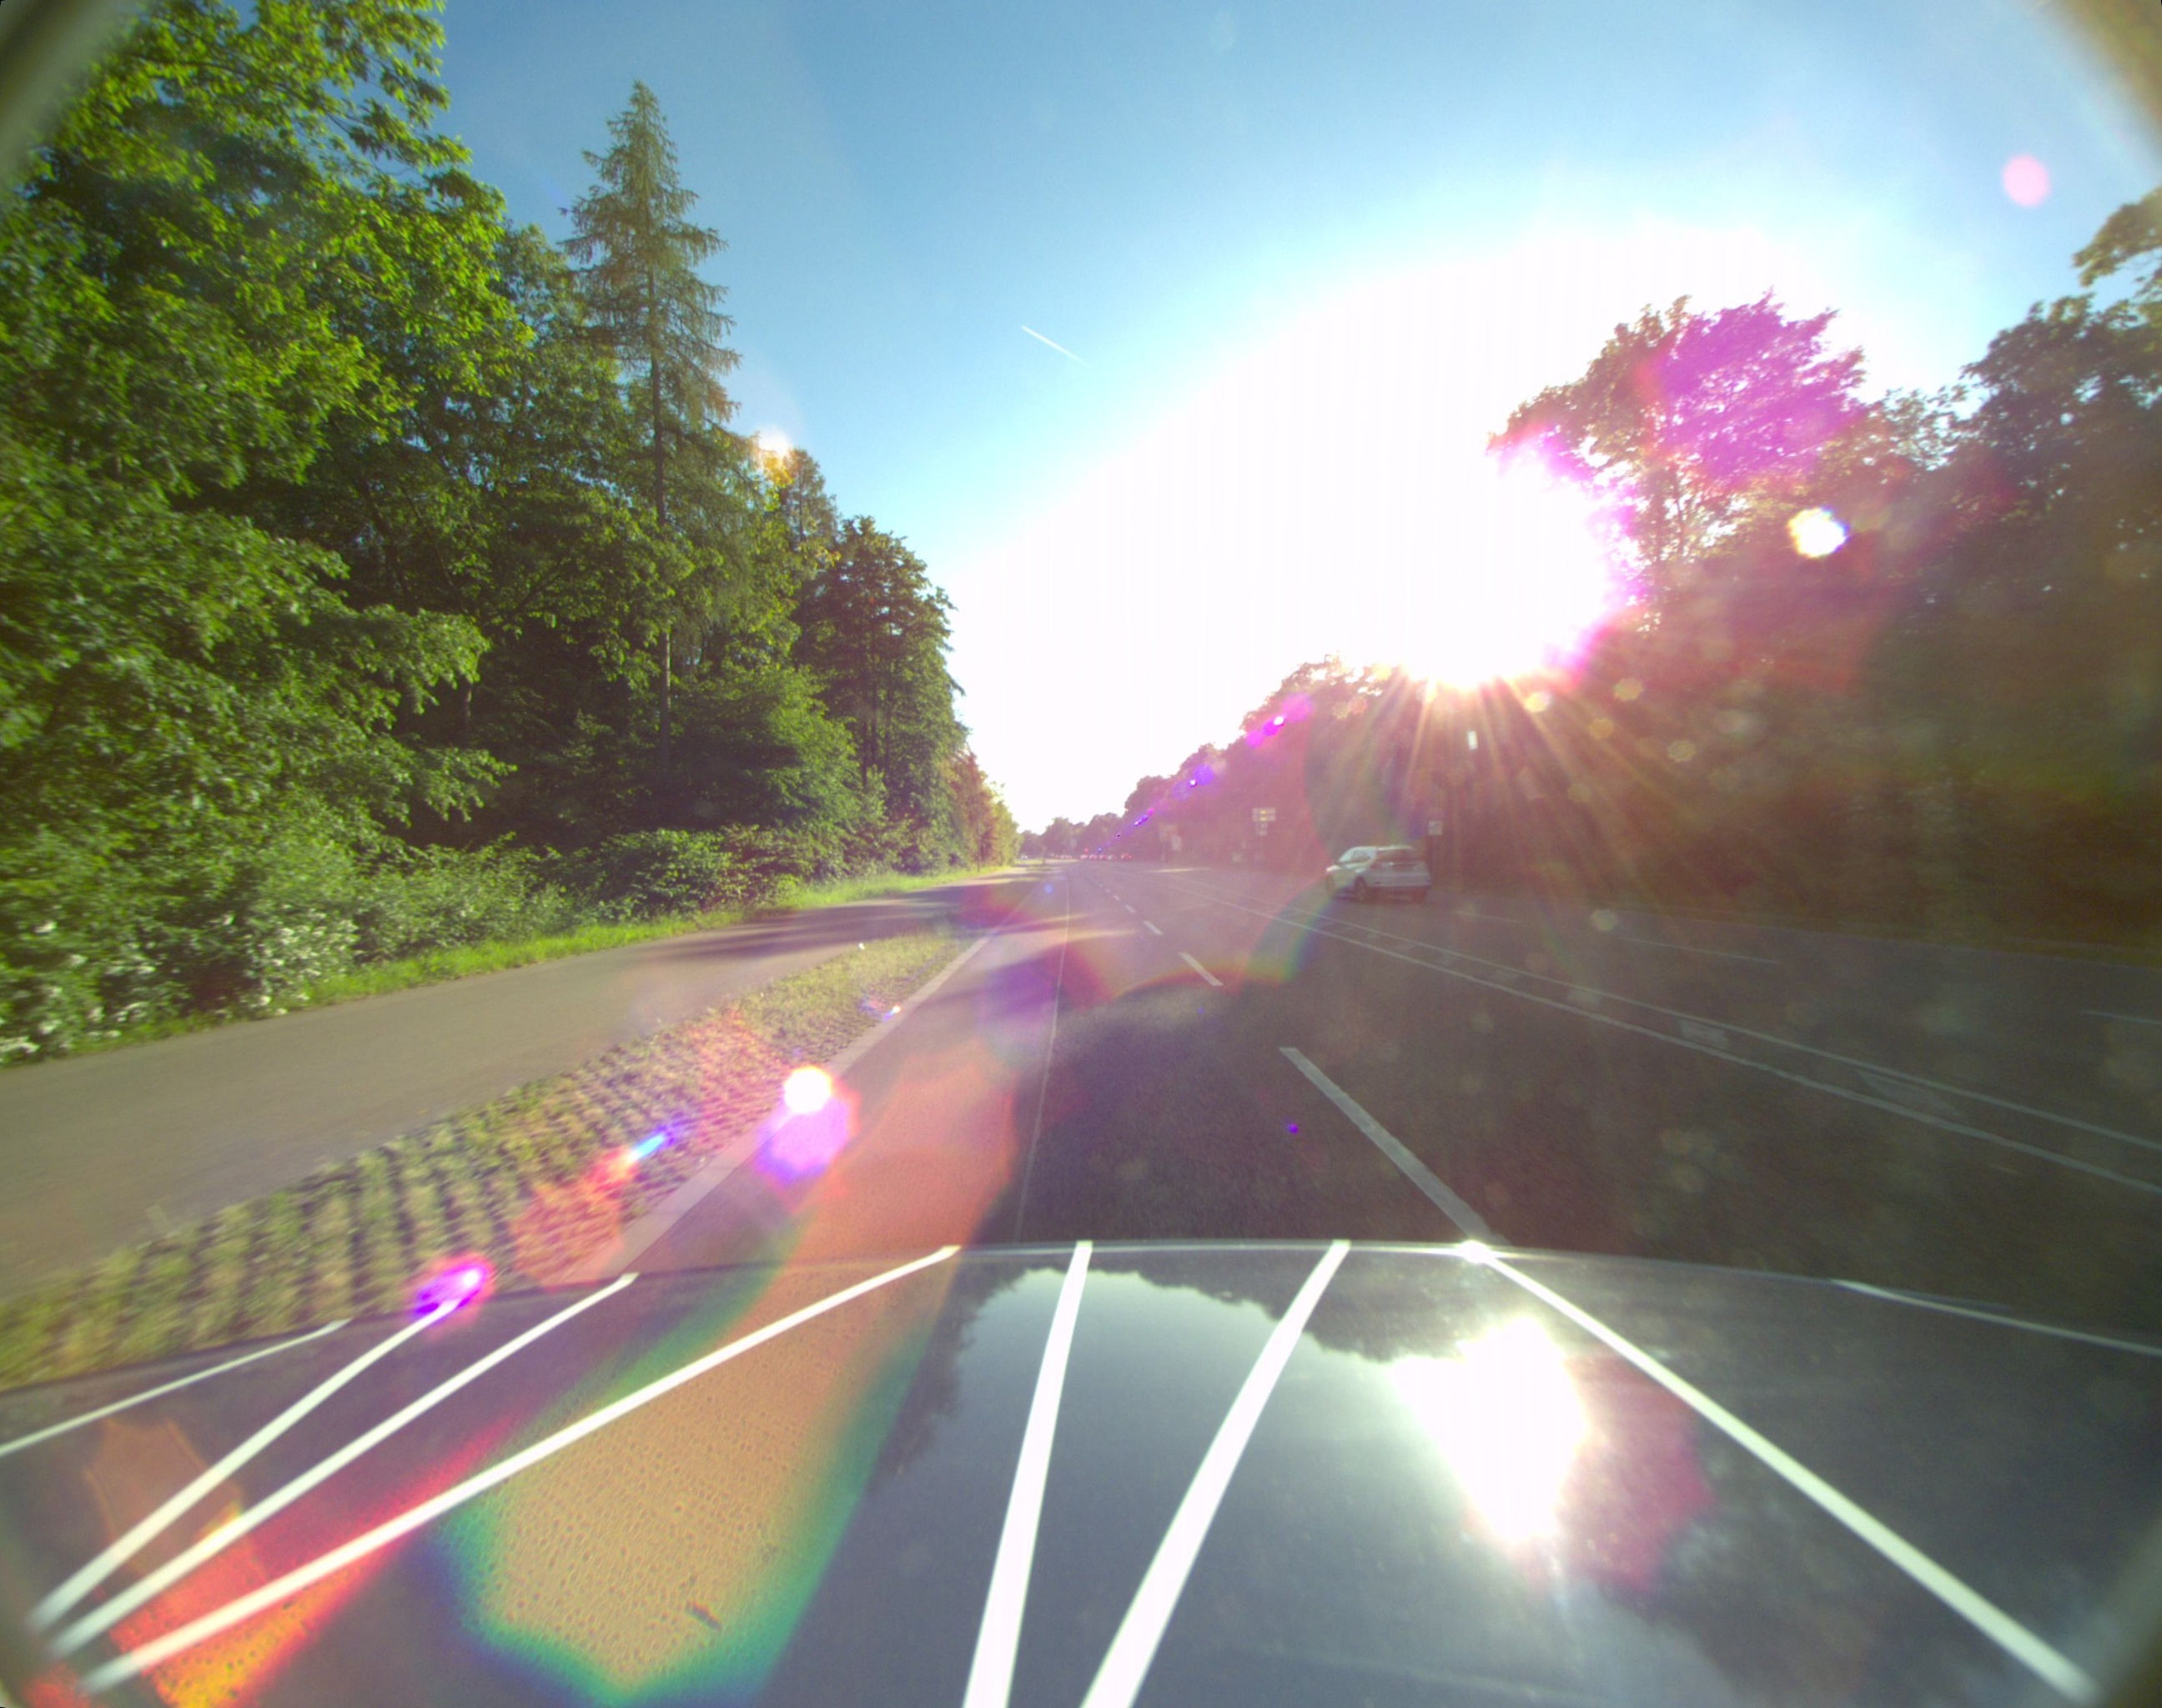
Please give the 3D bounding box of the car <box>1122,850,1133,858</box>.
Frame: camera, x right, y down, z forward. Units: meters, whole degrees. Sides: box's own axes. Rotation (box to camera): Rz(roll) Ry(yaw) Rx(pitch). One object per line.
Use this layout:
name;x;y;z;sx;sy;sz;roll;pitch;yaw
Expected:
car;9.527;0.086;154.795;1.829;1.580;4.350;-1;0;-1

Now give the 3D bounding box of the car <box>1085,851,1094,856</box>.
car;2.638;-0.189;235.461;2.000;1.627;4.840;0;0;-8

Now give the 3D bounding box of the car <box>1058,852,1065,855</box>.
car;-6.660;-0.141;257.031;1.749;1.227;4.670;0;0;-6

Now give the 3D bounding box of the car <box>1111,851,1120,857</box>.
car;8.861;0.079;195.730;1.829;1.495;4.305;-1;0;-1

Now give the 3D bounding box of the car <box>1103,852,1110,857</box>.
car;7.207;0.154;212.674;1.829;1.536;4.256;-1;0;1

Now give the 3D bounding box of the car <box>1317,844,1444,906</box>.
car;8.914;0.567;23.111;1.913;1.654;4.733;-1;0;-1

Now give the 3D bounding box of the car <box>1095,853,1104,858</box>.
car;5.416;0.389;222.221;2.000;1.555;4.335;0;0;-6
